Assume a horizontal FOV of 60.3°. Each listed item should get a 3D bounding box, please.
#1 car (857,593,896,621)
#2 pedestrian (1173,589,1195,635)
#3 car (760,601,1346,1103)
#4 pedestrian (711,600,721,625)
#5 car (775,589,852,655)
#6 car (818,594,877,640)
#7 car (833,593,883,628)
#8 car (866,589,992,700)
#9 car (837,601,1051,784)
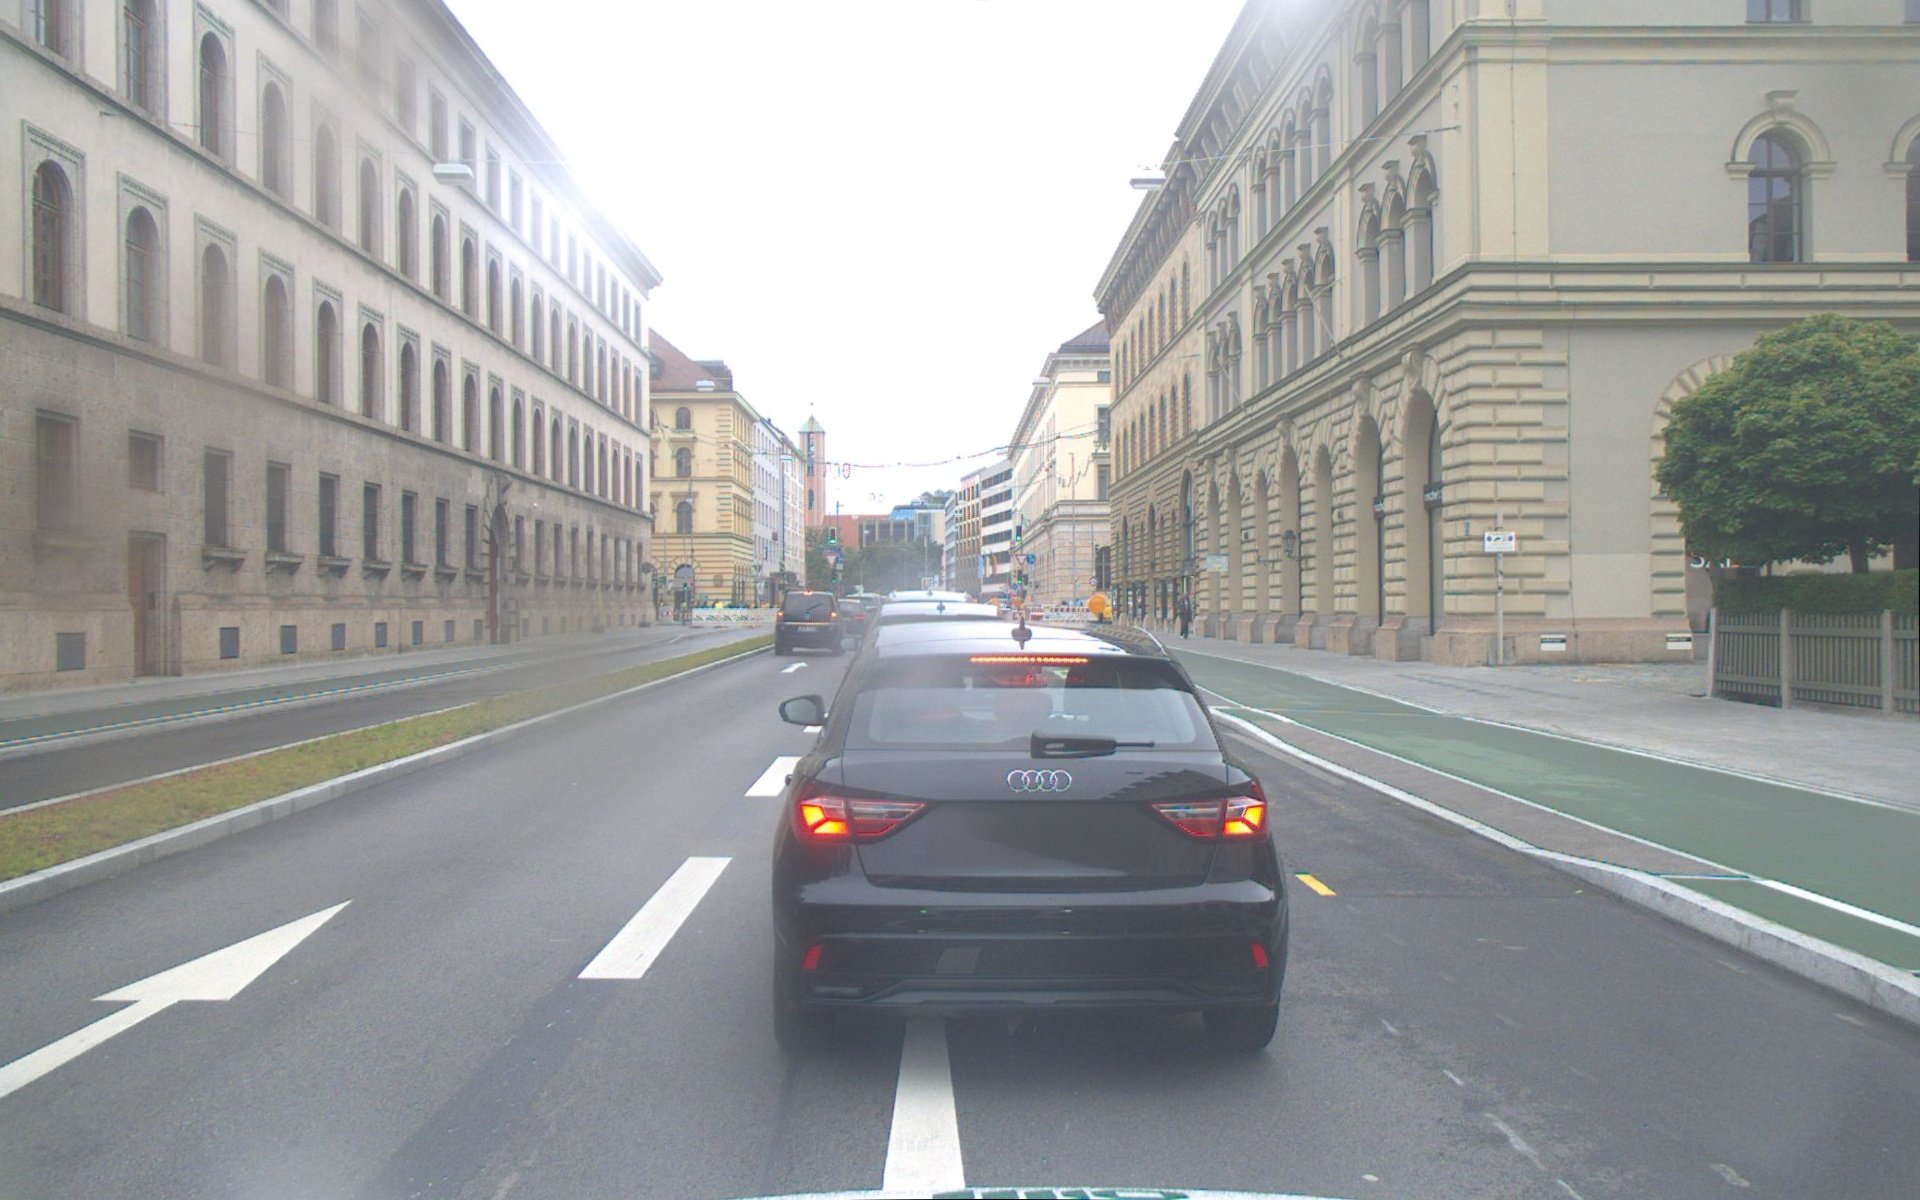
[{"bbox_3d":[-4.526,0.370,90.453,1.953,1.469,3.999,0,0,-1],"label":"car"},{"bbox_3d":[8.207,0.434,60.645,0.695,1.646,0.754,0,0,-2],"label":"pedestrian"},{"bbox_3d":[0.237,0.741,6.830,1.695,1.427,3.999,1,0,-1],"label":"car"},{"bbox_3d":[-18.320,0.924,124.233,0.642,1.836,0.727,0,0,-2],"label":"pedestrian"},{"bbox_3d":[-3.813,0.547,43.523,1.729,1.644,4.029,1,0,-1],"label":"car"},{"bbox_3d":[-4.120,0.604,61.139,1.953,1.656,3.999,0,0,-1],"label":"car"},{"bbox_3d":[-4.346,0.440,70.987,1.953,1.469,3.999,0,0,-1],"label":"car"},{"bbox_3d":[-0.456,0.604,24.581,1.695,1.486,3.999,1,0,-1],"label":"car"},{"bbox_3d":[-0.163,0.745,15.275,1.695,1.427,3.999,1,0,-1],"label":"car"}]
